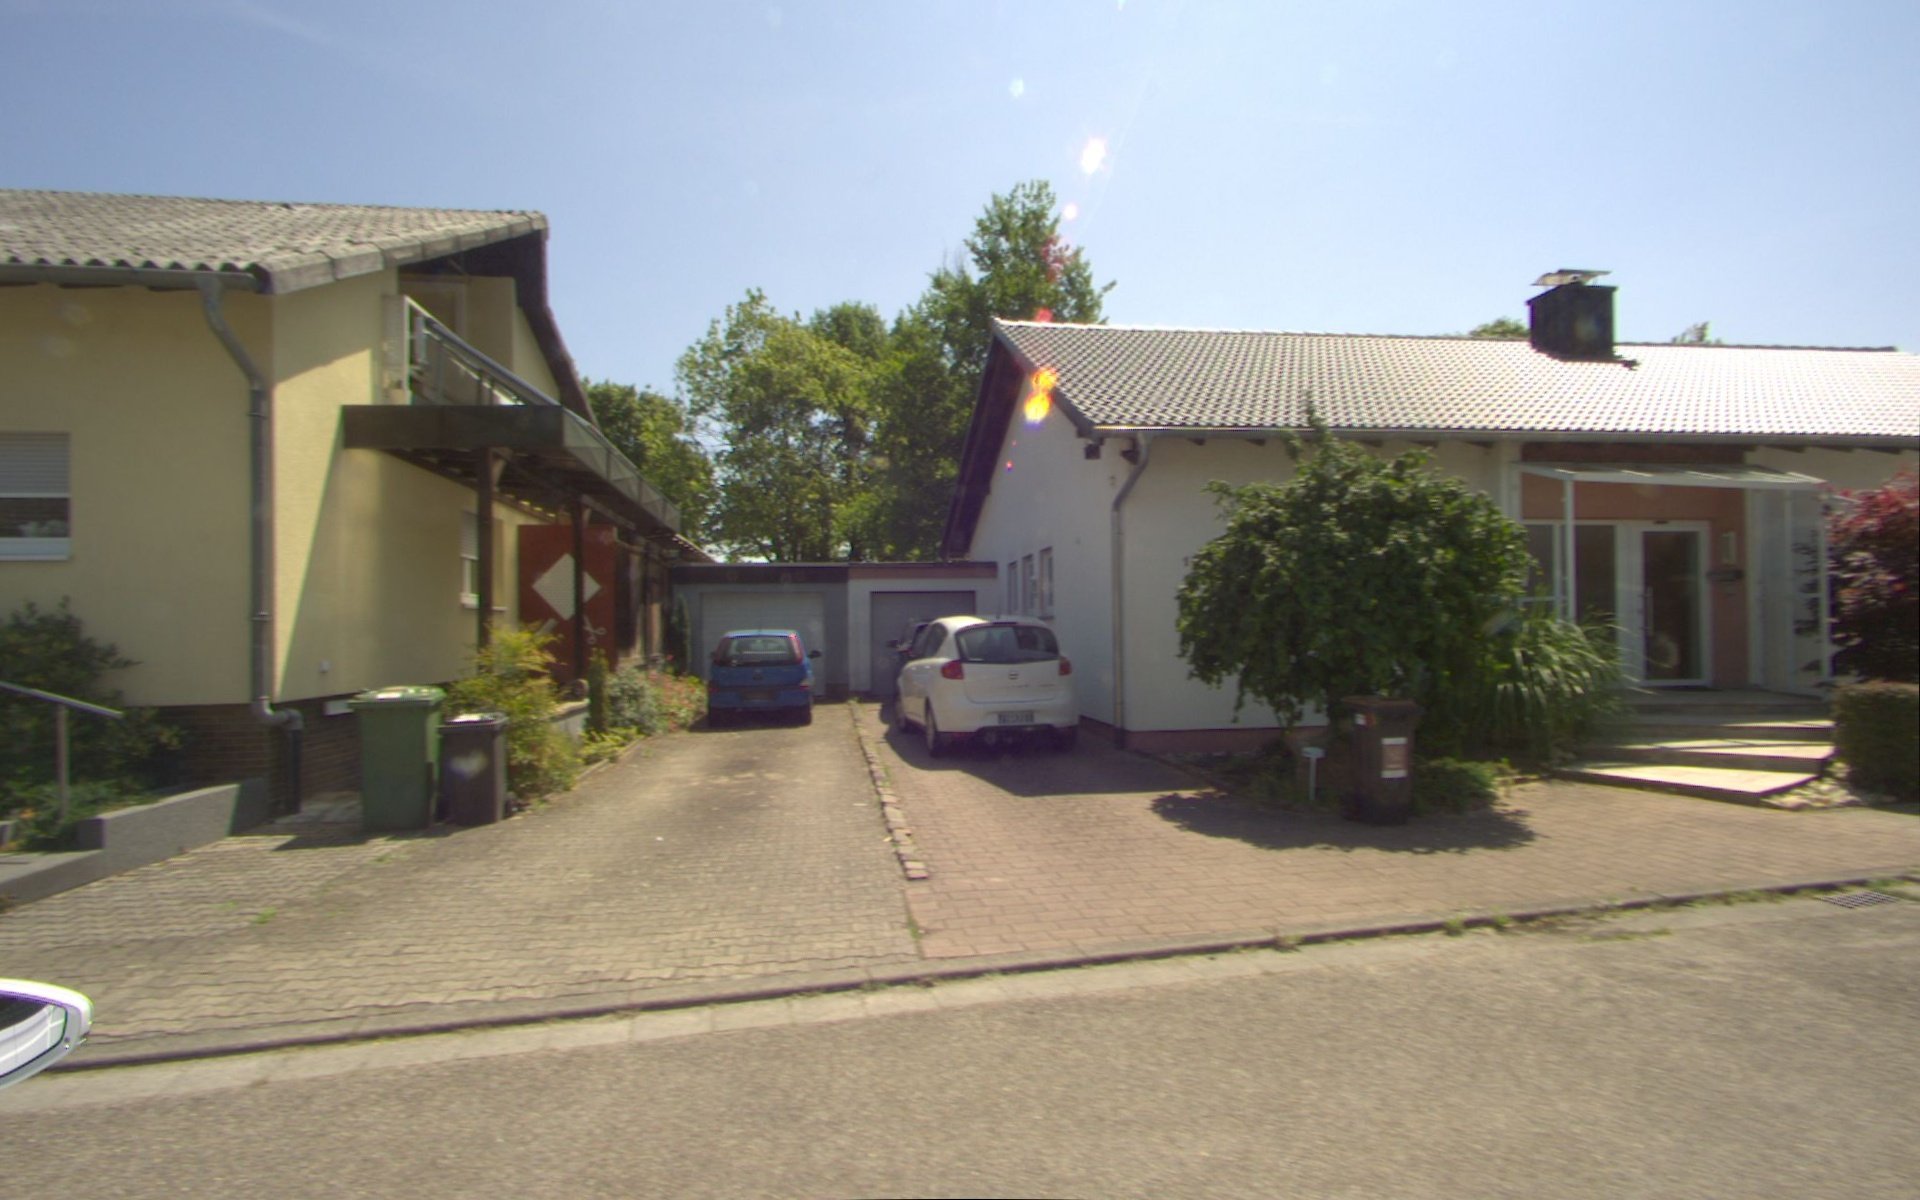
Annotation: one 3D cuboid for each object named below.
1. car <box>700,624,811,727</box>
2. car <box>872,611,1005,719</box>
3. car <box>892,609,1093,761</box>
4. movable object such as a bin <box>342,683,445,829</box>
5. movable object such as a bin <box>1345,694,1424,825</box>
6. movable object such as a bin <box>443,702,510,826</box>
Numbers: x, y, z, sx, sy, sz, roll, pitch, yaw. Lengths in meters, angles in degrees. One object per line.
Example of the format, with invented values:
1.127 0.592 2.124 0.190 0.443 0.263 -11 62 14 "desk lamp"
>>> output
-3.272 1.152 16.505 1.589 1.474 3.252 0 0 -8 "car"
-0.496 1.041 17.518 1.892 1.628 3.999 -1 -1 -7 "car"
0.231 0.955 12.707 1.719 1.588 3.998 0 -1 -11 "car"
-4.412 1.194 7.825 0.582 1.054 0.491 -1 -1 -15 "movable object such as a bin"
3.117 1.158 7.370 0.368 0.903 0.390 -1 -1 -9 "movable object such as a bin"
-3.825 1.283 7.940 0.400 0.903 0.426 -1 -1 -16 "movable object such as a bin"
